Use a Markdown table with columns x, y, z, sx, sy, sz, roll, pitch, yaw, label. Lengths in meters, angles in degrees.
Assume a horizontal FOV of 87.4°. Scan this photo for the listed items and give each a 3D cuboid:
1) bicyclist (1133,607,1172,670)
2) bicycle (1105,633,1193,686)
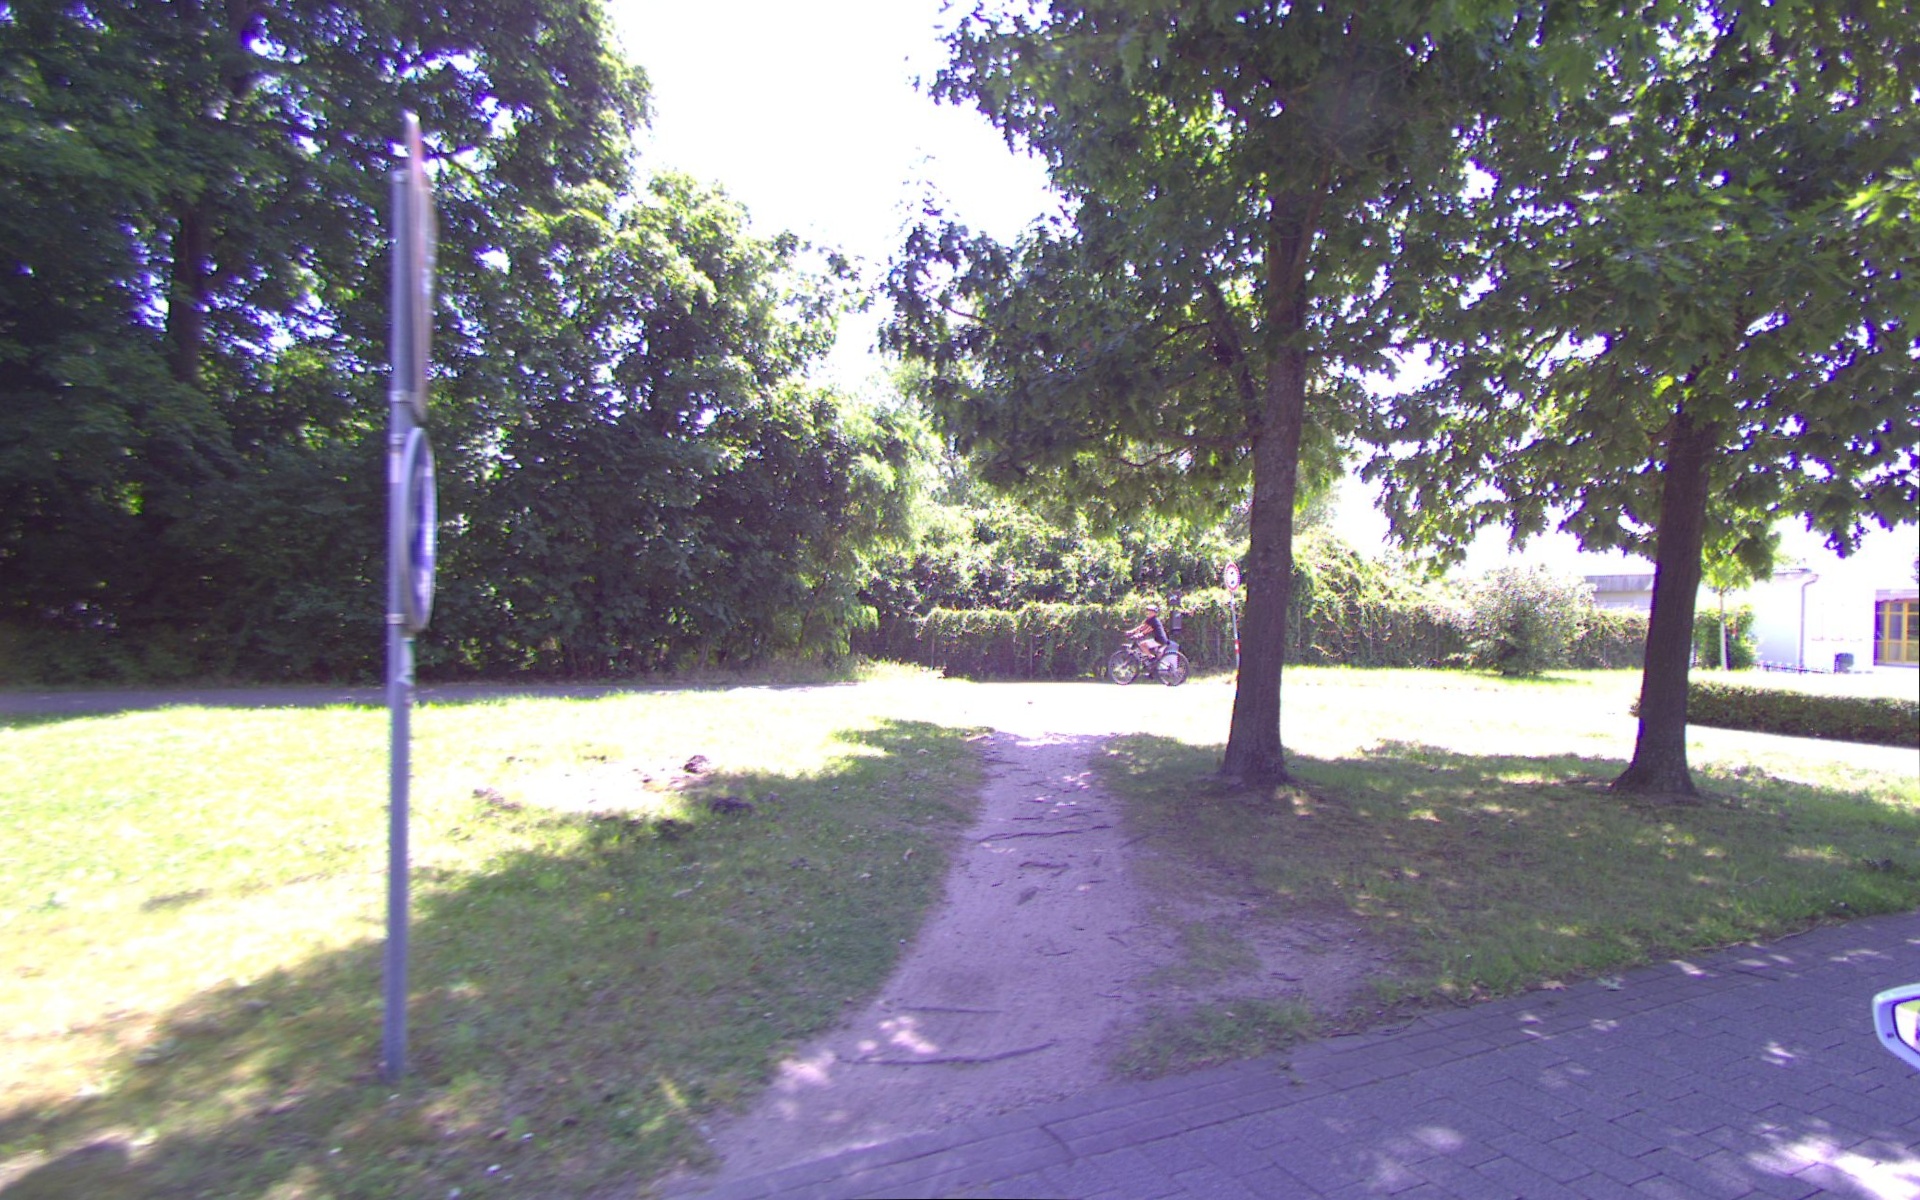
| x | y | z | sx | sy | sz | roll | pitch | yaw | label |
| --- | --- | --- | --- | --- | --- | --- | --- | --- | --- |
| 3.744 | 0.736 | 19.486 | 0.636 | 1.180 | 0.599 | 1 | -1 | 20 | bicyclist |
| 3.666 | 1.137 | 19.506 | 1.588 | 0.941 | 0.599 | 1 | -1 | 20 | bicycle |
